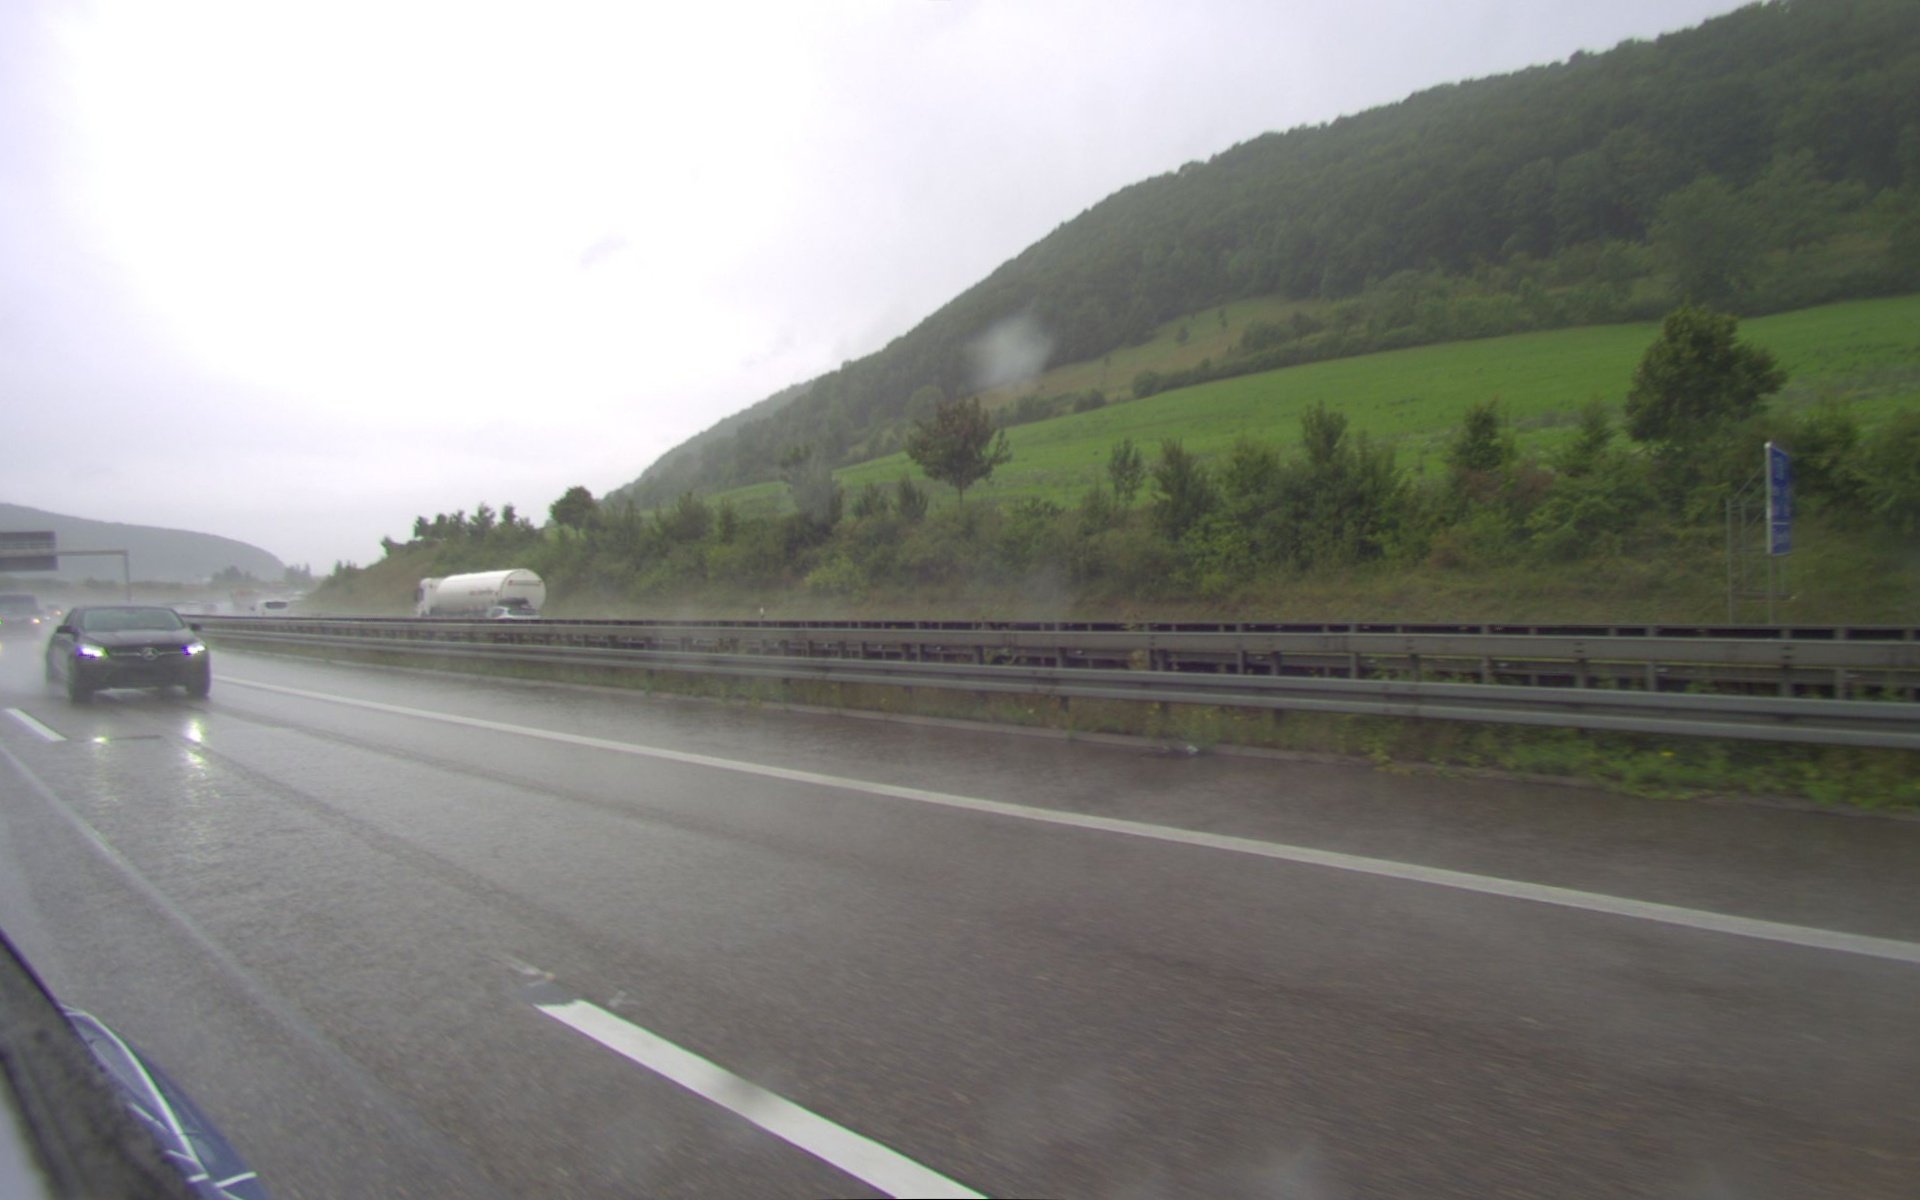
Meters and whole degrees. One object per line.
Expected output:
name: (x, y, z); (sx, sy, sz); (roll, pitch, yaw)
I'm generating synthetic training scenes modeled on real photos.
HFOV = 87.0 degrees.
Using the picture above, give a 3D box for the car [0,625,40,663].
car: (-53.493, 2.475, 57.119); (3.933, 2.029, 1.961); (-2, -1, 42)

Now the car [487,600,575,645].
car: (-17.528, 0.907, 41.287); (1.971, 1.747, 4.002); (0, -1, -45)

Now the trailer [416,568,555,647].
trailer: (-26.375, 0.458, 55.726); (2.899, 3.932, 12.575); (0, -1, -45)

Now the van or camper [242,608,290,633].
van or camper: (-54.108, 1.569, 78.897); (5.346, 1.892, 1.972); (-1, -1, 43)

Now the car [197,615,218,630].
car: (-104.466, 3.150, 140.525); (1.891, 2.029, 4.003); (-1, 0, -44)

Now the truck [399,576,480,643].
truck: (-31.257, 0.589, 60.695); (2.850, 3.831, 5.319); (0, -1, -44)

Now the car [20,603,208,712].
car: (-15.300, 0.935, 18.259); (3.743, 1.715, 1.793); (0, 2, 37)

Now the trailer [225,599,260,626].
trailer: (-95.587, 1.647, 134.741); (2.687, 3.517, 9.405); (0, 0, -43)
